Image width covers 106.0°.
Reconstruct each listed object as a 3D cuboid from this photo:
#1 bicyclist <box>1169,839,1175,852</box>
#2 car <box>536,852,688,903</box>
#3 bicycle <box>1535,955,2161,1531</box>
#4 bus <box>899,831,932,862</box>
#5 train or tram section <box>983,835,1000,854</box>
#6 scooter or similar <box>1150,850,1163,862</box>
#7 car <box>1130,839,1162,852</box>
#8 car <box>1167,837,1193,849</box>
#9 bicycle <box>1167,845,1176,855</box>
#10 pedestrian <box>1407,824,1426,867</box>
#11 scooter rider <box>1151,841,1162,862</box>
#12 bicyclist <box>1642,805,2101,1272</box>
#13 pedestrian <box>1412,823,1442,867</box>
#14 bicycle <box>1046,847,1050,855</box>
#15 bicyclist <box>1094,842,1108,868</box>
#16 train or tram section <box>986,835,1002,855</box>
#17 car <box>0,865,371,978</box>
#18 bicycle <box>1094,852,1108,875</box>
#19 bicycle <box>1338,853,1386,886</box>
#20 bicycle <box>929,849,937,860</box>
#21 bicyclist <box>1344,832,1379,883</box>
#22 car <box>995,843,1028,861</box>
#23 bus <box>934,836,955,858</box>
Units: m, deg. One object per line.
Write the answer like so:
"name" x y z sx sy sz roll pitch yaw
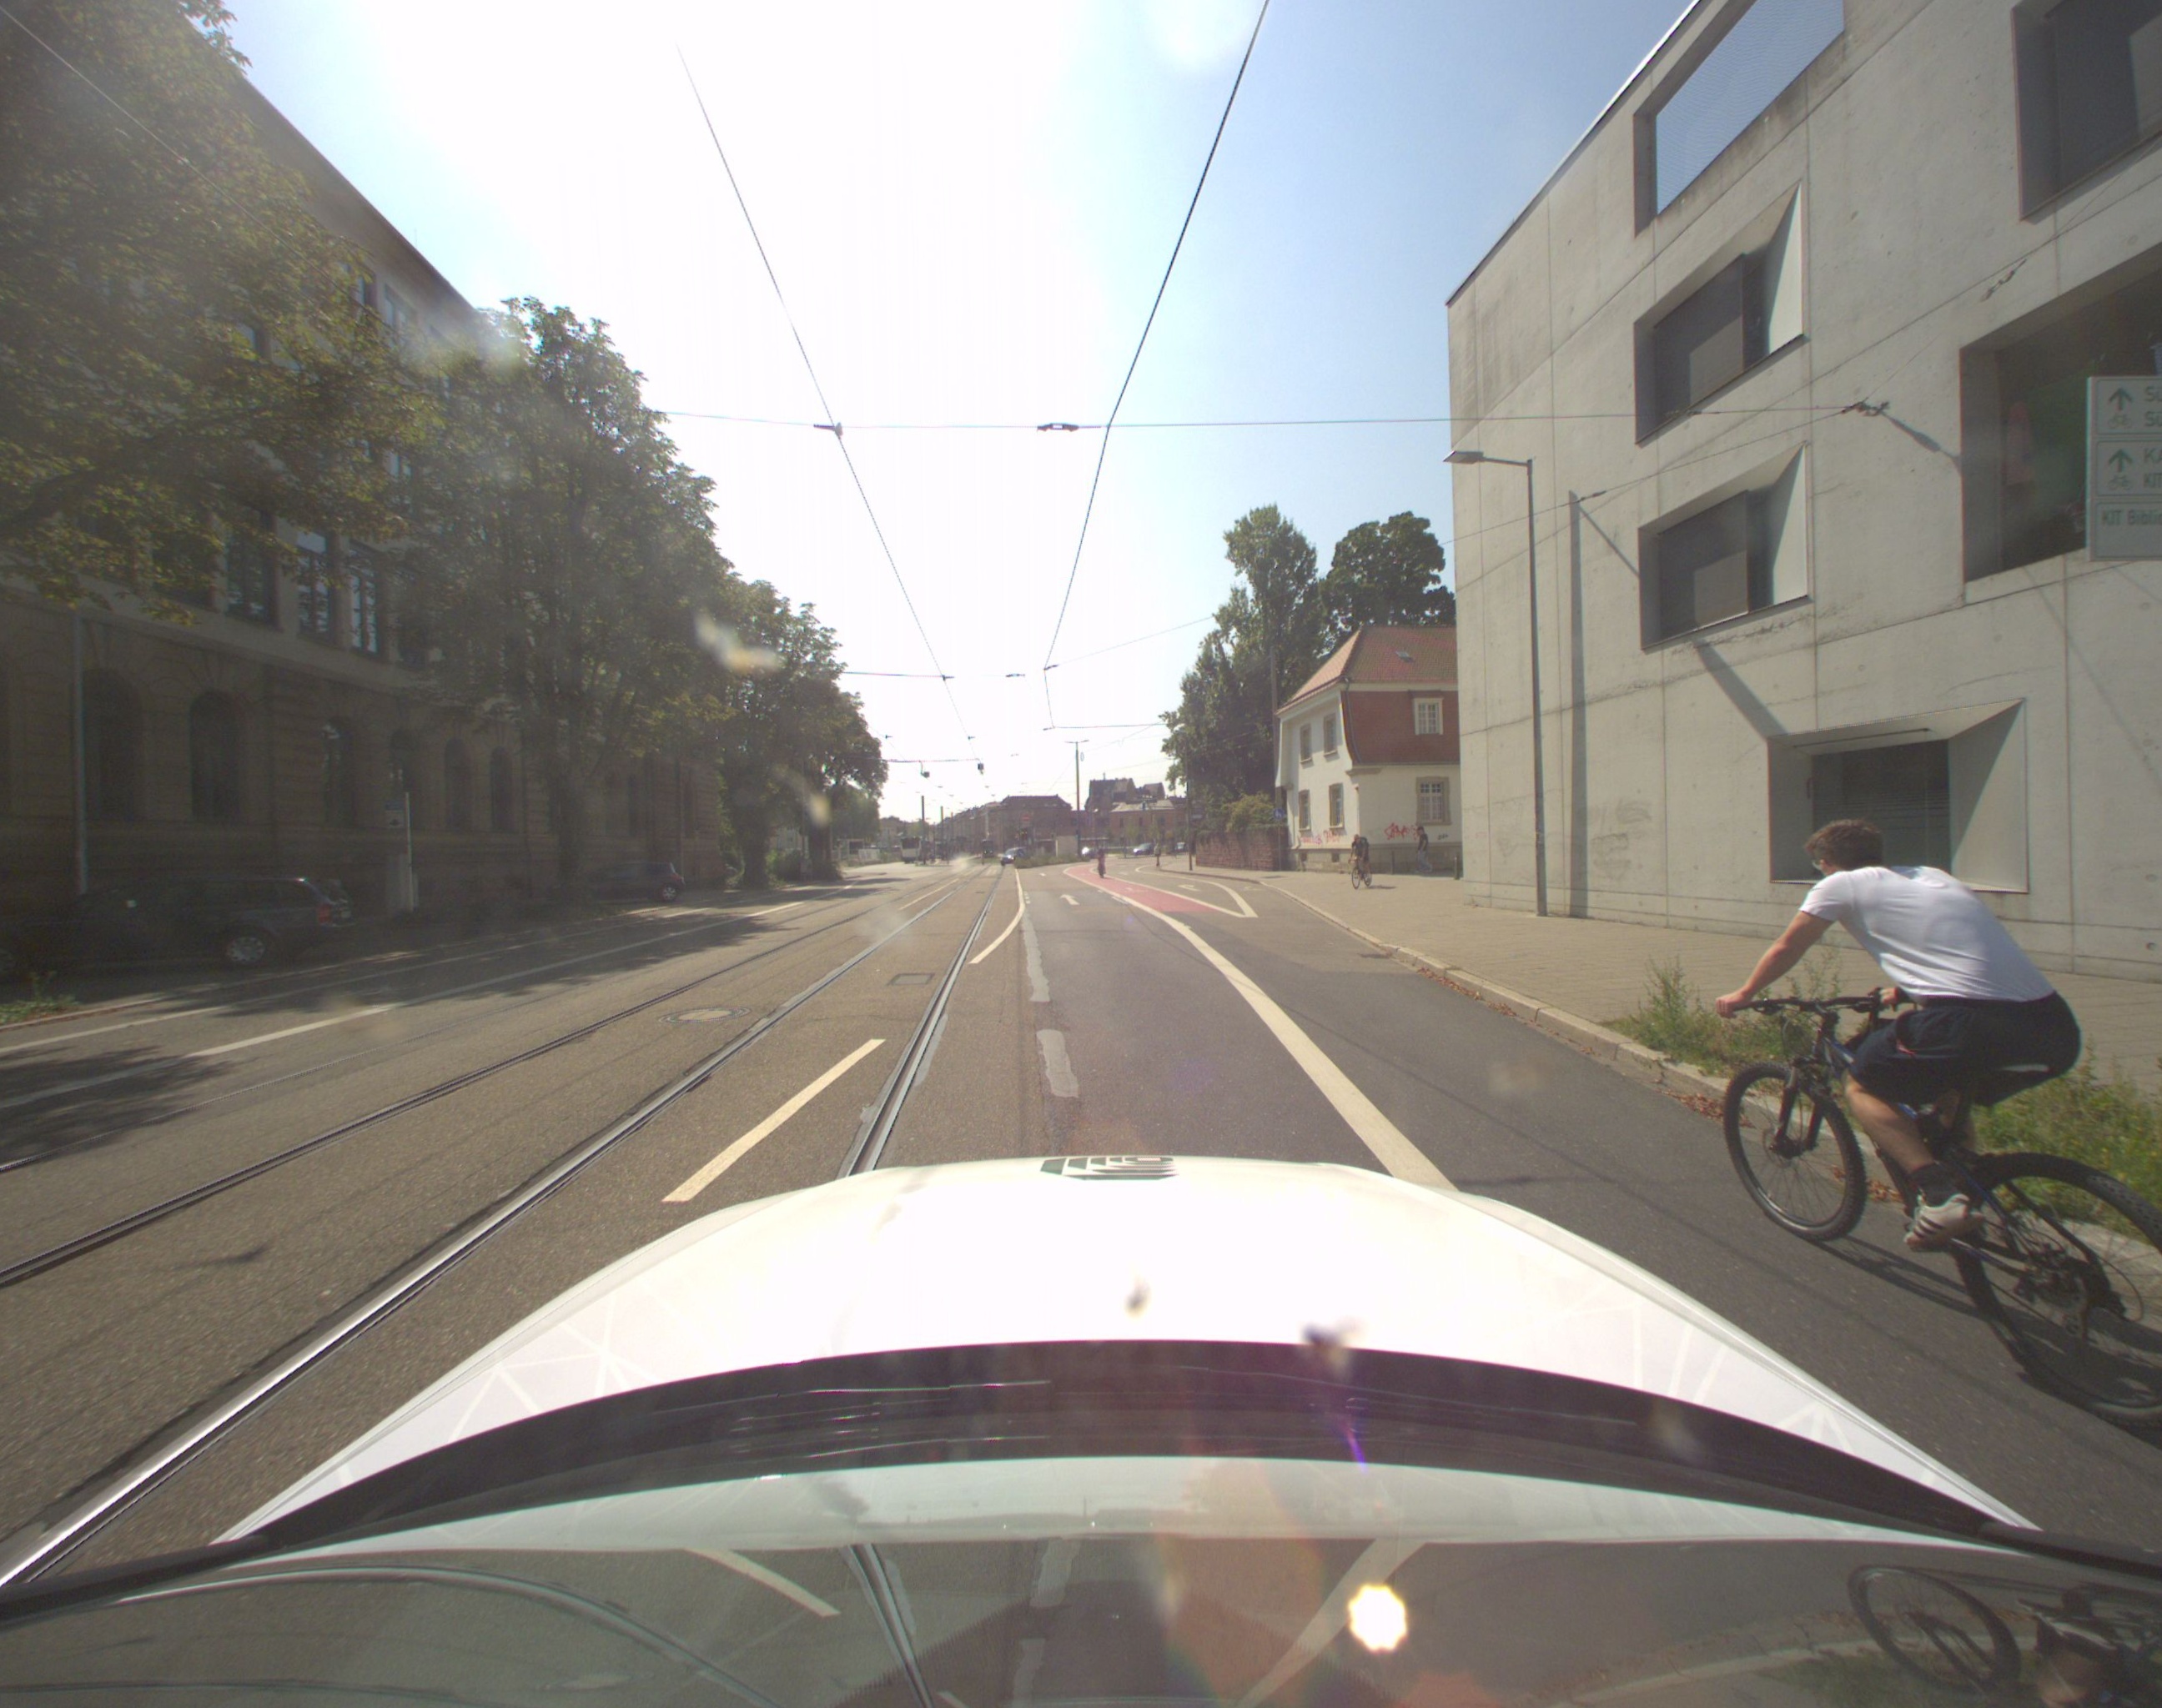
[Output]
"bicyclist" 10.134 -0.973 90.862 0.445 1.421 0.499 -2 0 31
"car" -15.954 0.746 27.812 4.187 1.496 1.799 -2 1 -42
"bicycle" 2.789 1.073 3.093 0.738 1.048 2.229 -1 1 -5
"bus" -21.022 -0.947 104.113 2.953 3.774 10.577 -1 1 -5
"train or tram section" -17.455 -1.867 159.910 2.852 3.548 17.711 -1 1 -5
"scooter or similar" 6.271 0.184 67.711 0.766 0.926 1.628 -1 1 17
"car" 8.194 -1.066 102.317 1.754 1.610 4.704 -1 1 37
"car" 13.614 -1.484 111.622 1.634 1.530 4.353 -1 1 35
"bicycle" 10.103 -0.451 90.802 0.440 1.116 1.455 -2 1 31
"pedestrian" 13.327 -0.346 32.356 0.484 1.666 0.620 -1 1 0
"scooter rider" 6.331 -0.220 67.928 0.756 1.775 0.558 -1 1 17
"bicyclist" 2.774 0.554 2.985 0.743 1.411 0.960 -1 1 -5
"pedestrian" 13.421 -0.345 31.617 0.873 1.665 0.730 -1 1 1
"bicycle" -4.494 -0.372 110.482 0.463 1.032 1.546 -1 0 -3
"bicyclist" 1.034 0.058 42.249 0.601 1.335 0.659 -1 1 -4
"train or tram section" -18.921 -1.987 178.312 2.881 4.067 19.112 -1 1 -4
"car" -14.385 0.970 12.920 4.445 1.461 1.803 -1 1 -32
"bicycle" 1.036 0.475 42.284 0.602 1.163 1.808 -1 1 -3
"bicycle" 9.070 0.480 26.264 1.720 1.000 0.609 -1 0 -39
"bicycle" -16.528 0.011 91.104 0.605 1.222 1.704 -1 1 -1
"bicyclist" 9.016 0.092 26.189 0.997 1.598 0.621 -2 1 -40
"car" -6.485 -0.223 76.527 1.677 1.655 3.599 -1 0 20
"bus" -24.971 -1.278 149.190 2.704 3.726 10.406 -1 1 -3
